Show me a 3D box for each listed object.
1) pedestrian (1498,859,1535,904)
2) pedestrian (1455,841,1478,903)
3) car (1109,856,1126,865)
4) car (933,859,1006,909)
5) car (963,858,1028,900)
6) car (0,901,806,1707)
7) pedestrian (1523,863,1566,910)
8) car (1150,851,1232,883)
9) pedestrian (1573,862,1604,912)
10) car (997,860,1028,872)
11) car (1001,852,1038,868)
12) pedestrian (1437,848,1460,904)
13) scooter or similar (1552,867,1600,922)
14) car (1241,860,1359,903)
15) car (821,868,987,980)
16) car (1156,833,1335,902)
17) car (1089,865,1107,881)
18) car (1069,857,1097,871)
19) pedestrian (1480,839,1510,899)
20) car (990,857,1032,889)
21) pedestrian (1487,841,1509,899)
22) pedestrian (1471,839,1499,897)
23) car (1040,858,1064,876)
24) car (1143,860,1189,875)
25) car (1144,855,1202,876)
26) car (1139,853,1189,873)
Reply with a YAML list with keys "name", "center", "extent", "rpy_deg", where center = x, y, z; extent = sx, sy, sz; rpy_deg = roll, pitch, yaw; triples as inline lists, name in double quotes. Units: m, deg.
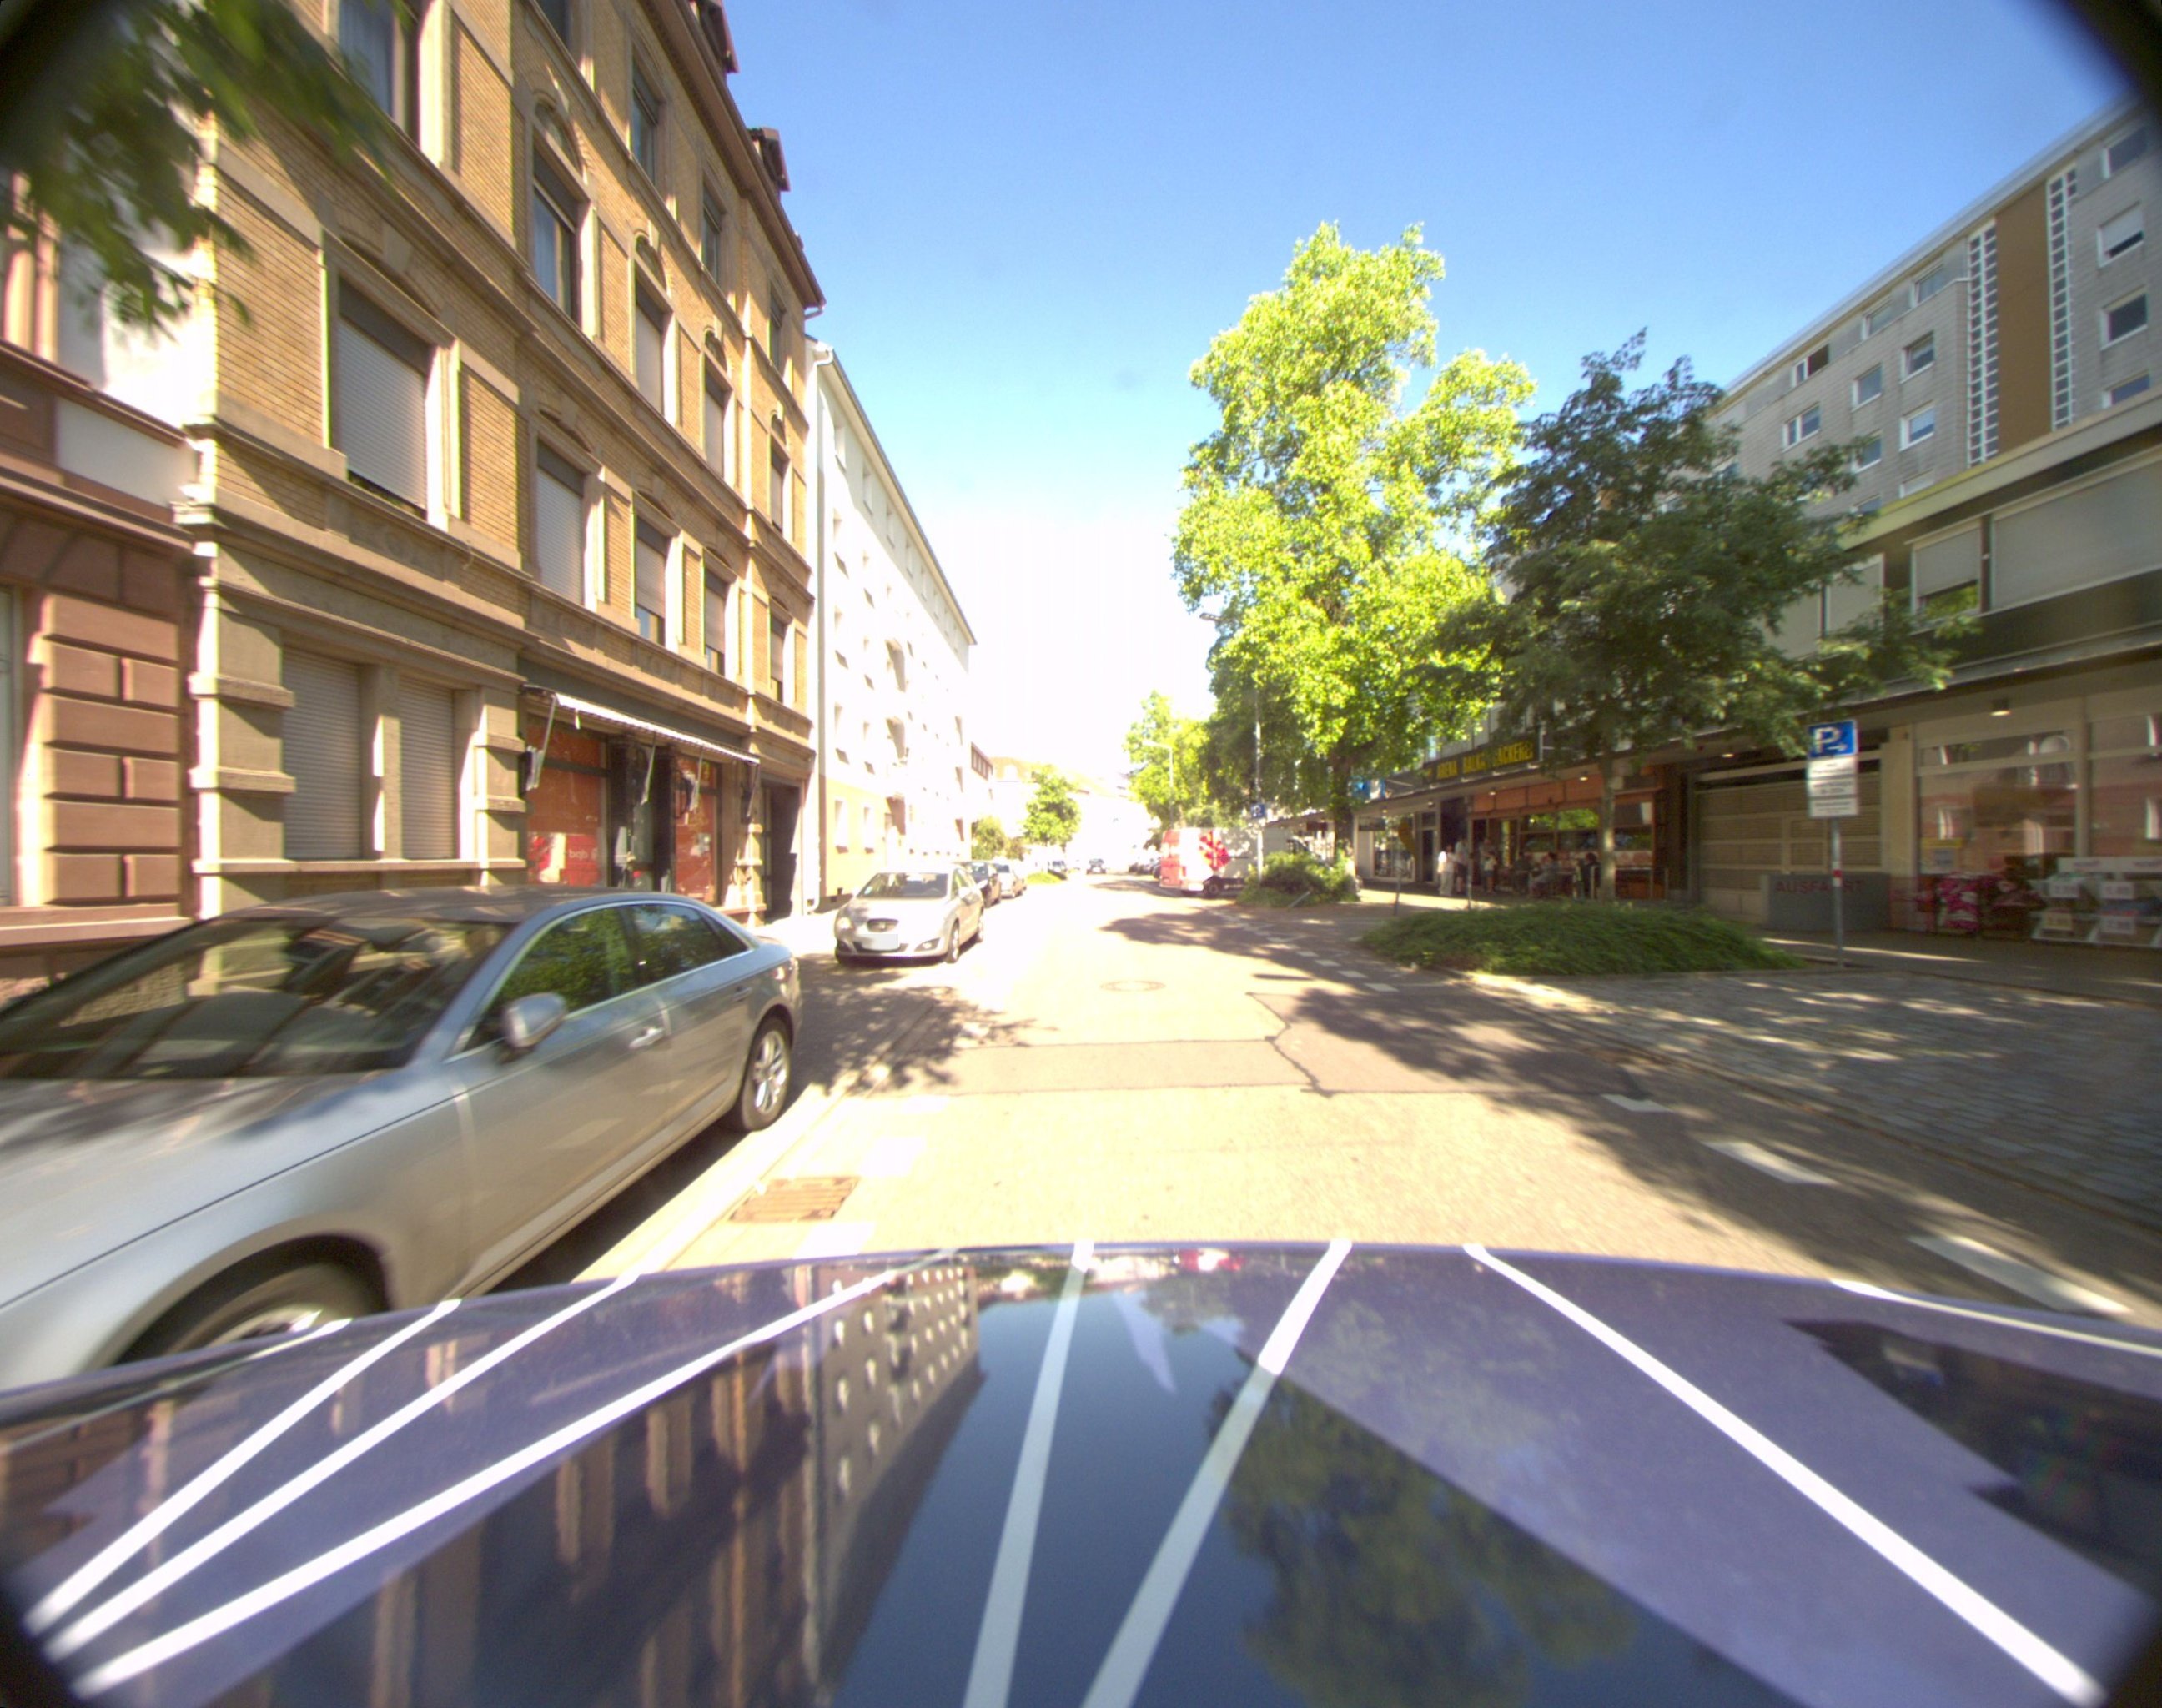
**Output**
- name: "pedestrian"
  center: [13.348, 0.840, 23.307]
  extent: [0.565, 1.333, 0.954]
  rpy_deg: [-1, 0, -2]
- name: "pedestrian"
  center: [12.201, 0.559, 24.077]
  extent: [0.598, 1.923, 0.588]
  rpy_deg: [0, 0, 22]
- name: "car"
  center: [5.757, 0.966, 119.387]
  extent: [1.632, 1.412, 3.299]
  rpy_deg: [-1, 0, 24]
- name: "car"
  center: [-3.446, 0.887, 24.054]
  extent: [1.713, 1.471, 3.710]
  rpy_deg: [0, 0, 1]
- name: "car"
  center: [-3.270, 0.923, 29.826]
  extent: [1.790, 1.451, 4.517]
  rpy_deg: [1, 0, 3]
- name: "car"
  center: [-2.659, 1.020, 2.791]
  extent: [1.743, 1.443, 4.307]
  rpy_deg: [0, 0, 0]
- name: "pedestrian"
  center: [12.922, 0.890, 21.205]
  extent: [0.609, 1.256, 0.898]
  rpy_deg: [0, 0, -3]
- name: "car"
  center: [7.139, 0.833, 49.480]
  extent: [5.043, 1.927, 1.873]
  rpy_deg: [-1, 0, 0]
- name: "pedestrian"
  center: [12.774, 0.823, 19.135]
  extent: [0.329, 1.233, 0.636]
  rpy_deg: [0, 0, -3]
- name: "car"
  center: [-8.366, 1.459, 93.418]
  extent: [3.648, 1.394, 1.568]
  rpy_deg: [0, 0, 1]
- name: "car"
  center: [-7.993, 0.792, 99.002]
  extent: [4.756, 2.002, 1.999]
  rpy_deg: [0, 0, -4]
- name: "pedestrian"
  center: [11.440, 0.677, 23.652]
  extent: [0.598, 1.701, 0.588]
  rpy_deg: [0, 0, 22]
- name: "scooter or similar"
  center: [11.857, 0.948, 18.192]
  extent: [1.320, 1.216, 0.456]
  rpy_deg: [-2, 1, -33]
- name: "car"
  center: [7.600, 0.926, 26.643]
  extent: [3.603, 1.412, 1.831]
  rpy_deg: [-1, 0, 0]
- name: "car"
  center: [-2.636, 0.982, 12.247]
  extent: [1.743, 1.443, 4.000]
  rpy_deg: [0, 0, 0]
- name: "car"
  center: [6.255, 0.457, 28.789]
  extent: [6.610, 2.459, 1.996]
  rpy_deg: [0, 0, -20]
- name: "car"
  center: [1.558, 1.743, 70.363]
  extent: [1.612, 1.444, 3.295]
  rpy_deg: [0, 0, 0]
- name: "car"
  center: [0.264, 1.363, 104.699]
  extent: [1.908, 1.924, 4.818]
  rpy_deg: [0, 0, 27]
- name: "pedestrian"
  center: [13.154, 0.470, 24.146]
  extent: [0.596, 1.892, 0.579]
  rpy_deg: [-1, 0, -1]
- name: "car"
  center: [-3.398, 0.915, 37.613]
  extent: [1.735, 1.477, 3.794]
  rpy_deg: [2, 0, -1]
- name: "pedestrian"
  center: [13.785, 0.529, 25.125]
  extent: [0.454, 1.892, 0.492]
  rpy_deg: [-1, 1, -1]
- name: "pedestrian"
  center: [13.156, 0.452, 24.753]
  extent: [0.596, 1.892, 0.579]
  rpy_deg: [1, 0, -1]
- name: "car"
  center: [-2.410, 1.049, 63.036]
  extent: [1.720, 1.445, 4.000]
  rpy_deg: [1, 0, 1]
- name: "car"
  center: [7.758, 1.213, 69.535]
  extent: [3.997, 1.390, 1.759]
  rpy_deg: [0, 0, -1]
- name: "car"
  center: [8.086, 1.015, 67.097]
  extent: [4.781, 1.766, 1.874]
  rpy_deg: [-1, 0, -1]
- name: "car"
  center: [8.581, 0.970, 79.056]
  extent: [4.995, 1.958, 1.909]
  rpy_deg: [-1, 0, -1]
